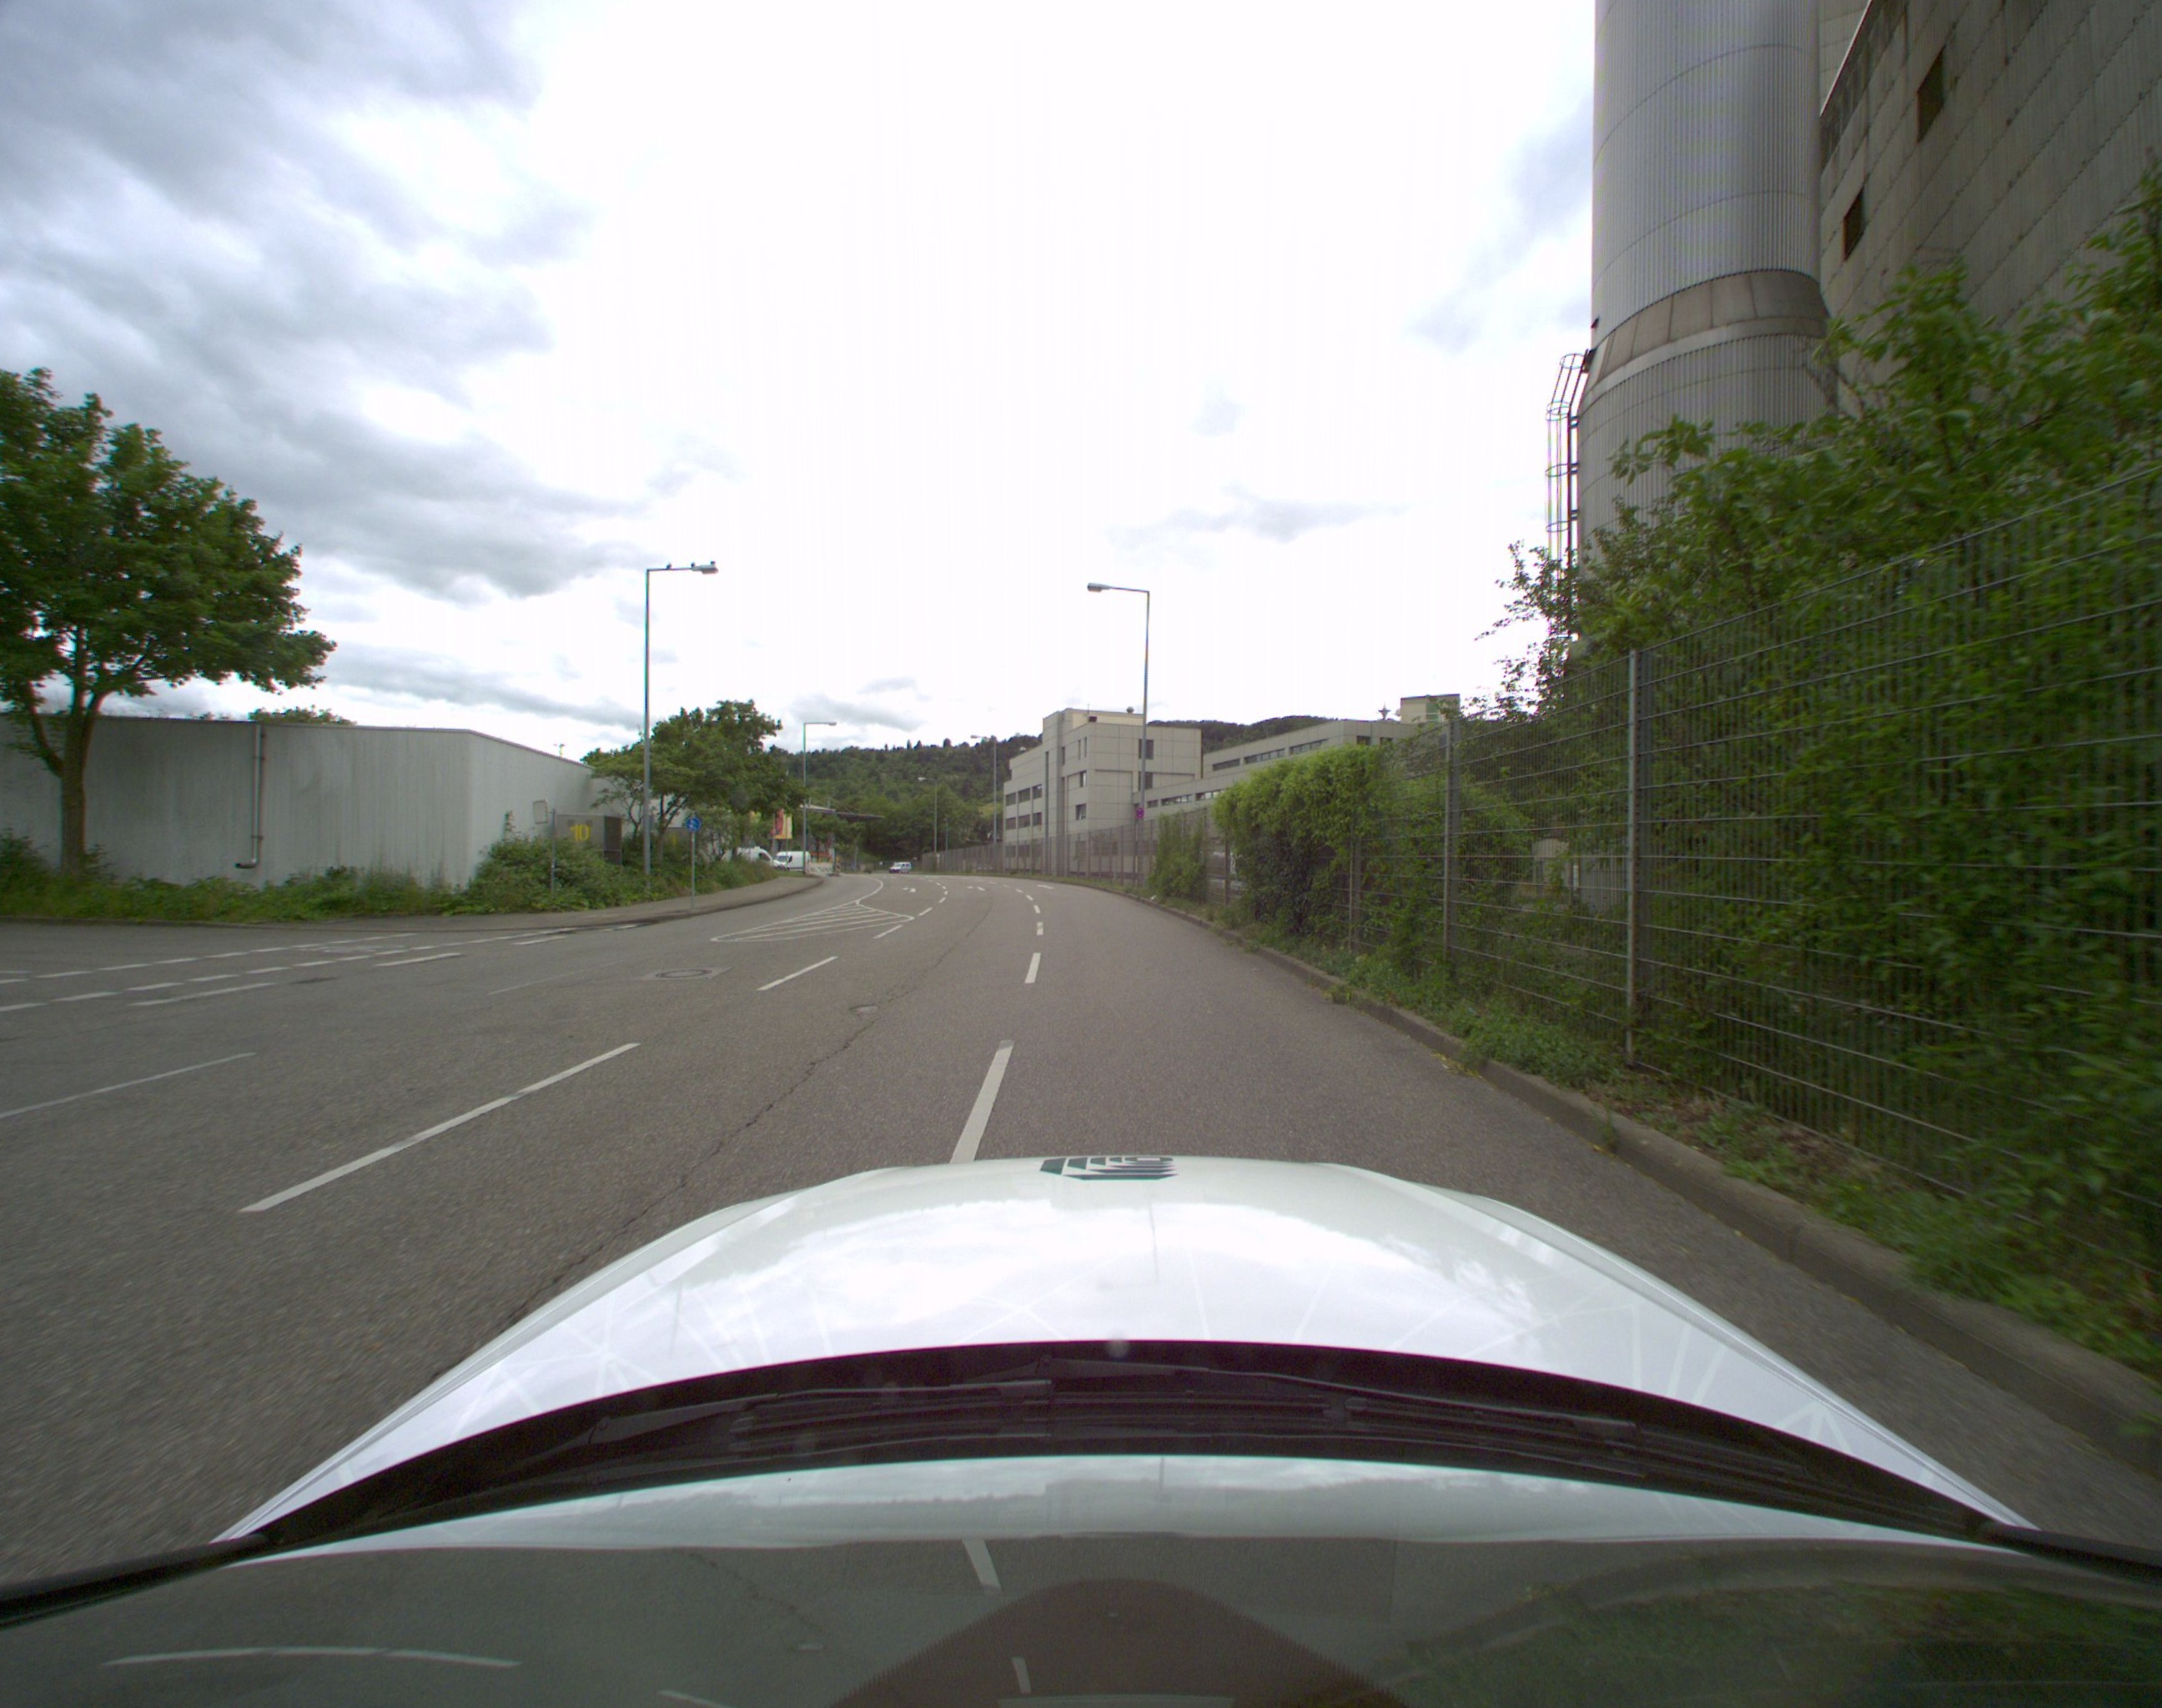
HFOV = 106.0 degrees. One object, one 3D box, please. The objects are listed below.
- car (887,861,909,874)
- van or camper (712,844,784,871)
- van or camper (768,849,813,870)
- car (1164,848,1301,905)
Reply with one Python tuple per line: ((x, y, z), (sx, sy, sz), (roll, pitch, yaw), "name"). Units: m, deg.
((-29.328, 2.119, 130.829), (1.982, 2.014, 4.141), (1, -1, 9), "car")
((-31.594, 0.404, 77.508), (6.000, 2.247, 2.381), (3, -2, -18), "van or camper")
((-34.076, 0.738, 95.775), (1.997, 2.326, 6.668), (0, -2, 8), "van or camper")
((6.524, 0.921, 35.808), (2.009, 2.263, 6.100), (2, -1, -38), "car")
